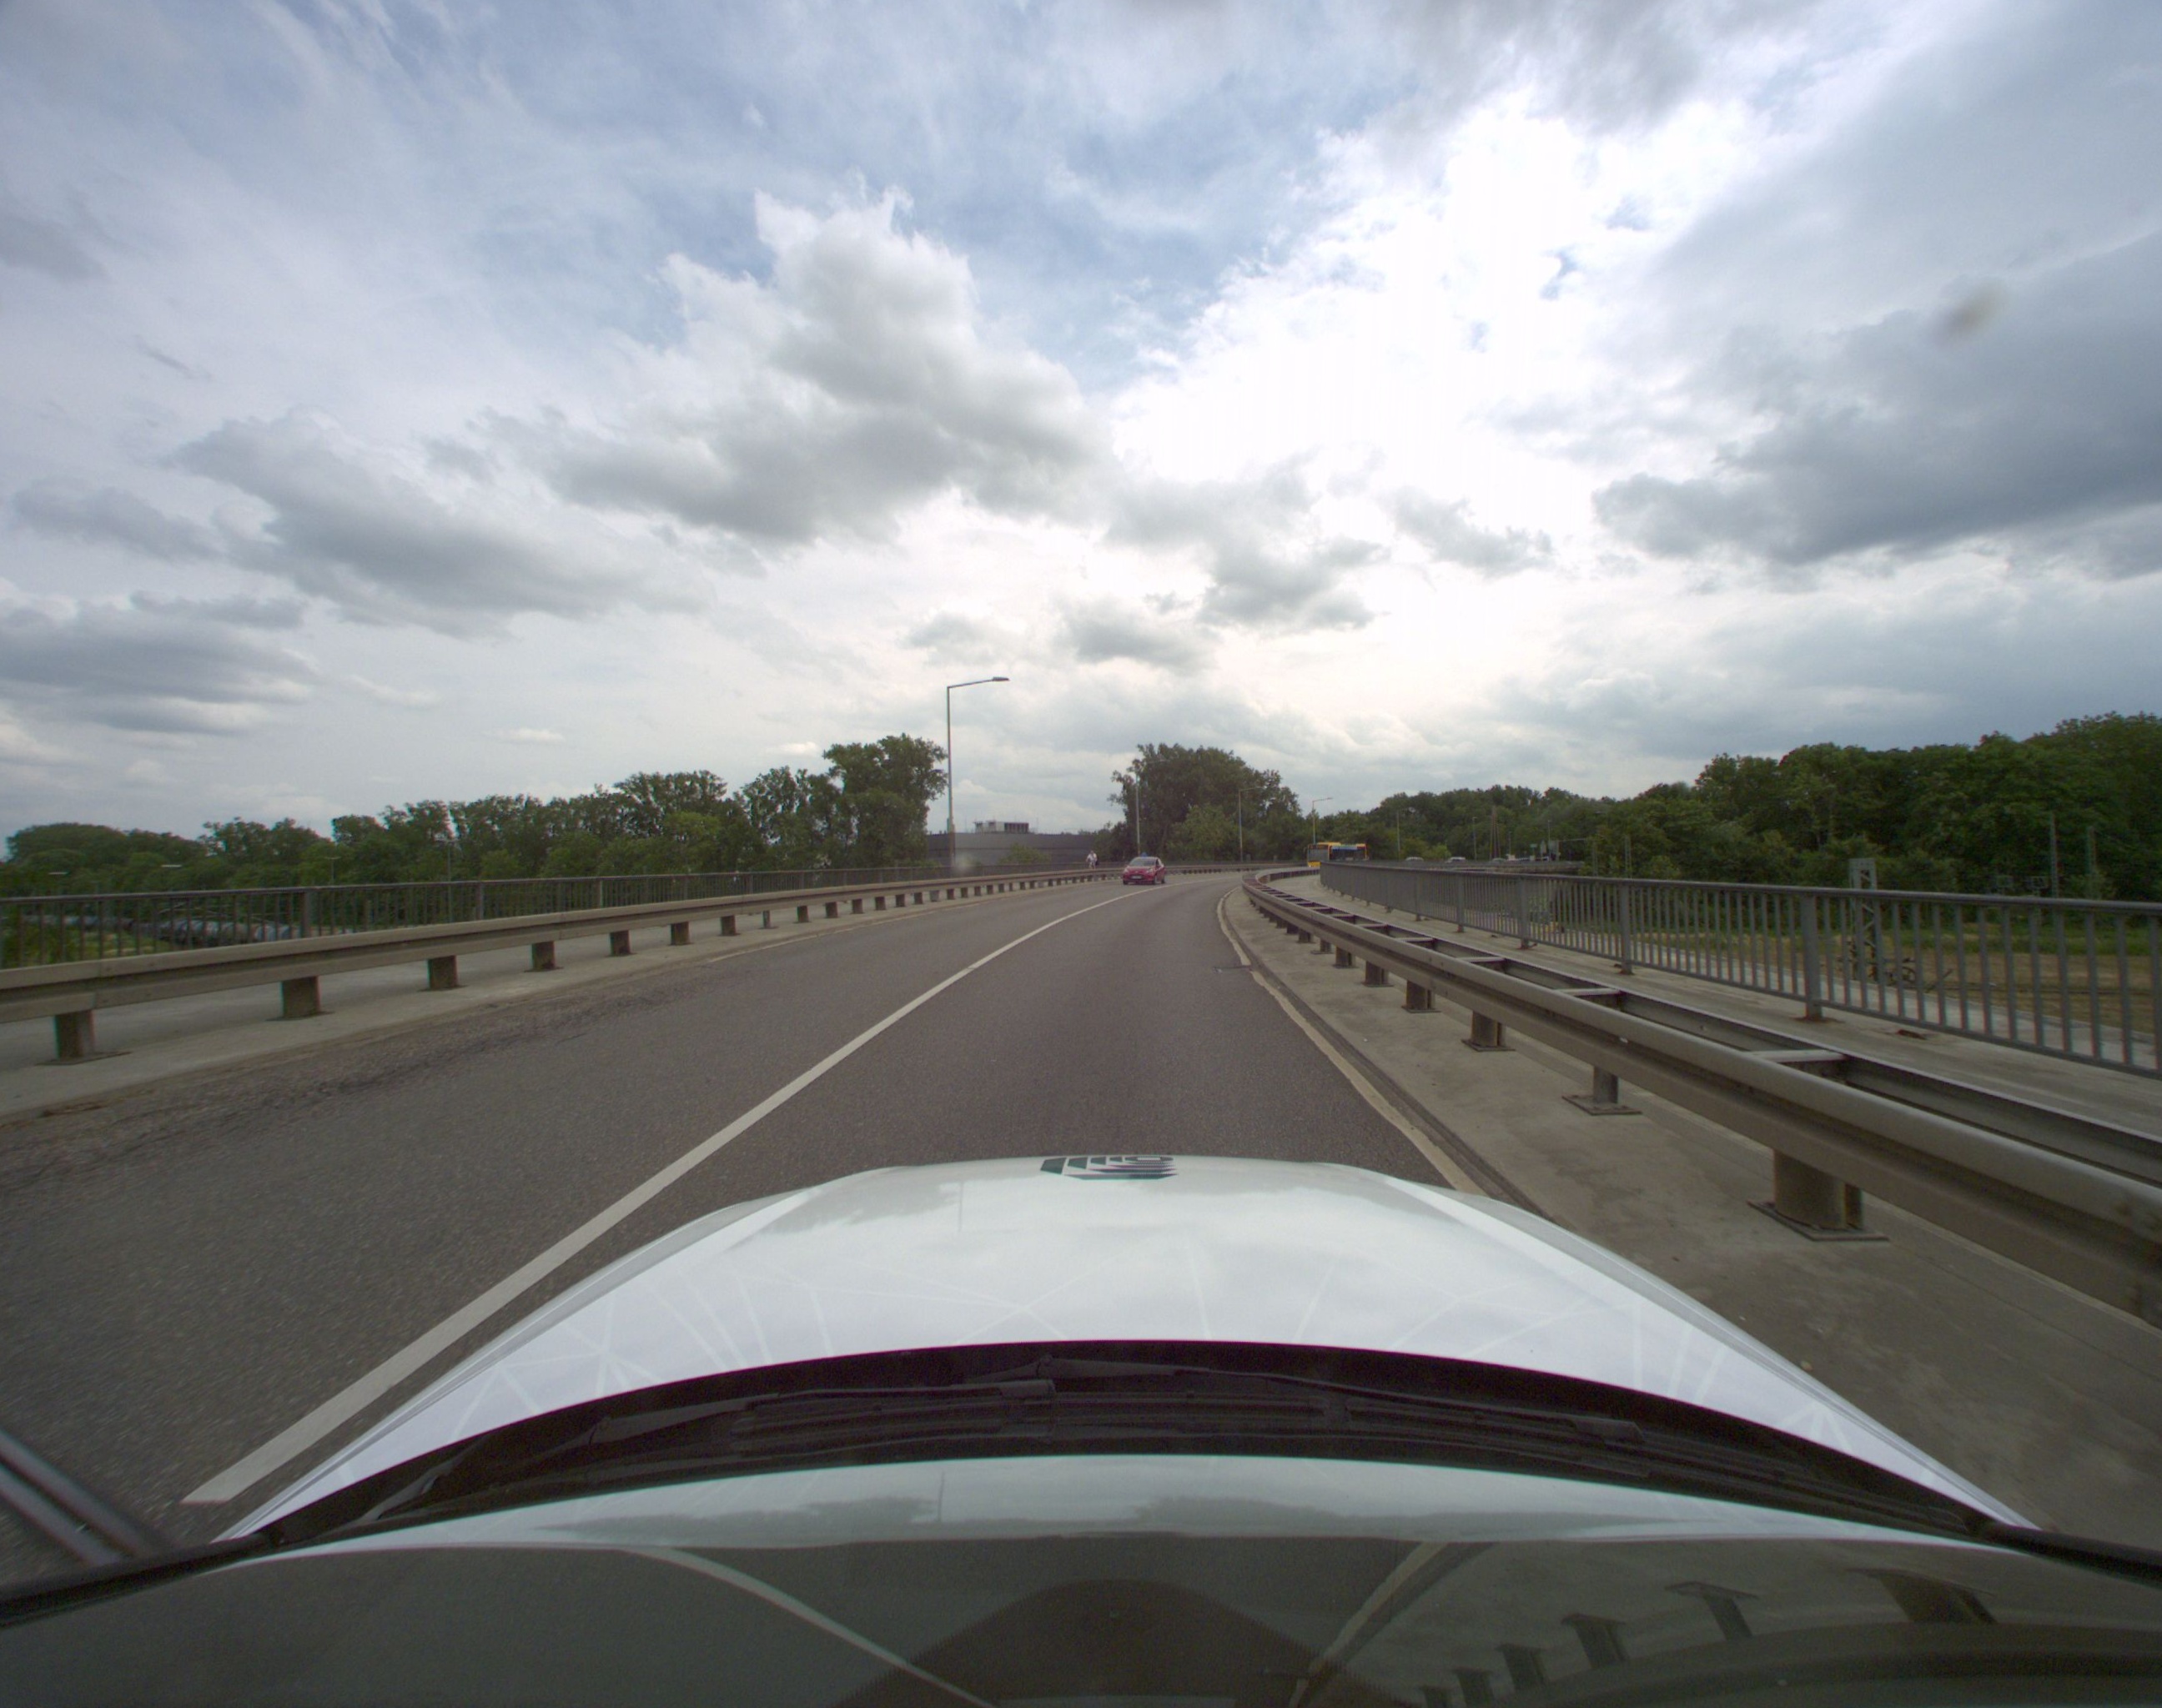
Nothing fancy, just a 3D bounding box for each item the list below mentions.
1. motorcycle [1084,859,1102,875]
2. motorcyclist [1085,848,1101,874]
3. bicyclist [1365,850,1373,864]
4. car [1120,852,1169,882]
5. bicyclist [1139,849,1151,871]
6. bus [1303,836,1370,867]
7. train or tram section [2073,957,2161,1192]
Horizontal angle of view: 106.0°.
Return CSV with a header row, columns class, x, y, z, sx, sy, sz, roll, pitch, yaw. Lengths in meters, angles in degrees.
class,x,y,z,sx,sy,sz,roll,pitch,yaw
motorcycle,0.718,0.764,48.490,0.621,0.963,1.847,0,-1,16
motorcyclist,0.729,0.397,48.544,0.804,1.529,0.827,0,-1,14
bicyclist,39.229,0.405,111.005,0.840,1.808,0.801,-1,-1,32
car,3.342,0.659,42.365,1.745,1.492,4.017,0,-1,16
bicyclist,4.547,0.404,57.797,0.604,1.540,0.762,-1,-1,30
bus,29.232,-0.211,92.605,3.002,3.233,13.033,-1,-1,37
train or tram section,33.991,5.722,18.921,13.481,5.574,3.674,0,-1,27
